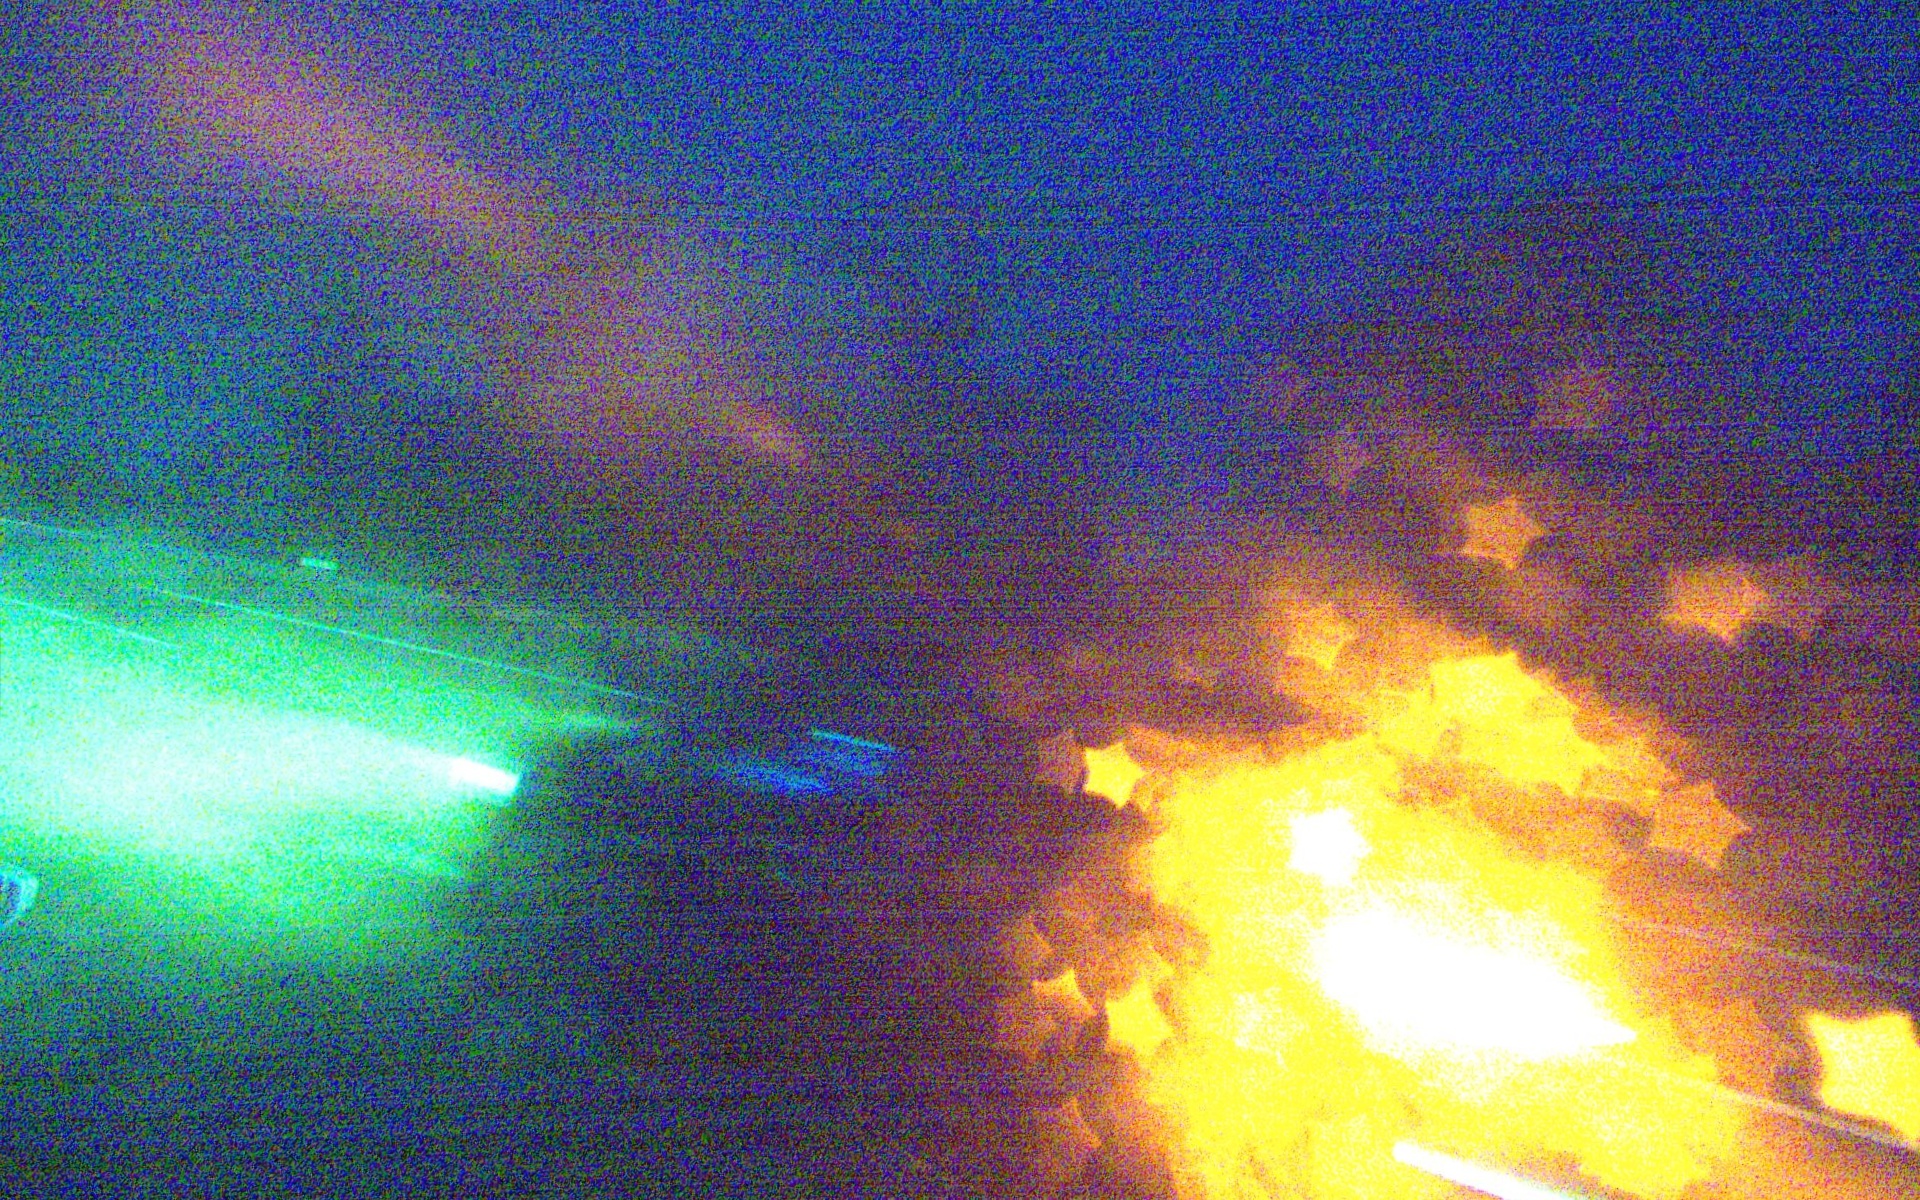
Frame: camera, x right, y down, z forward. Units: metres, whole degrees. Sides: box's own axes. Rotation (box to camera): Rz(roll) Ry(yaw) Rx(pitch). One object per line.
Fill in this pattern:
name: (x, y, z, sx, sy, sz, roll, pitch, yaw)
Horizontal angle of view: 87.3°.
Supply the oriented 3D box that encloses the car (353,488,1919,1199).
car: (0.387, 0.769, 3.016, 4.184, 1.636, 1.805, 7, -2, 29)
